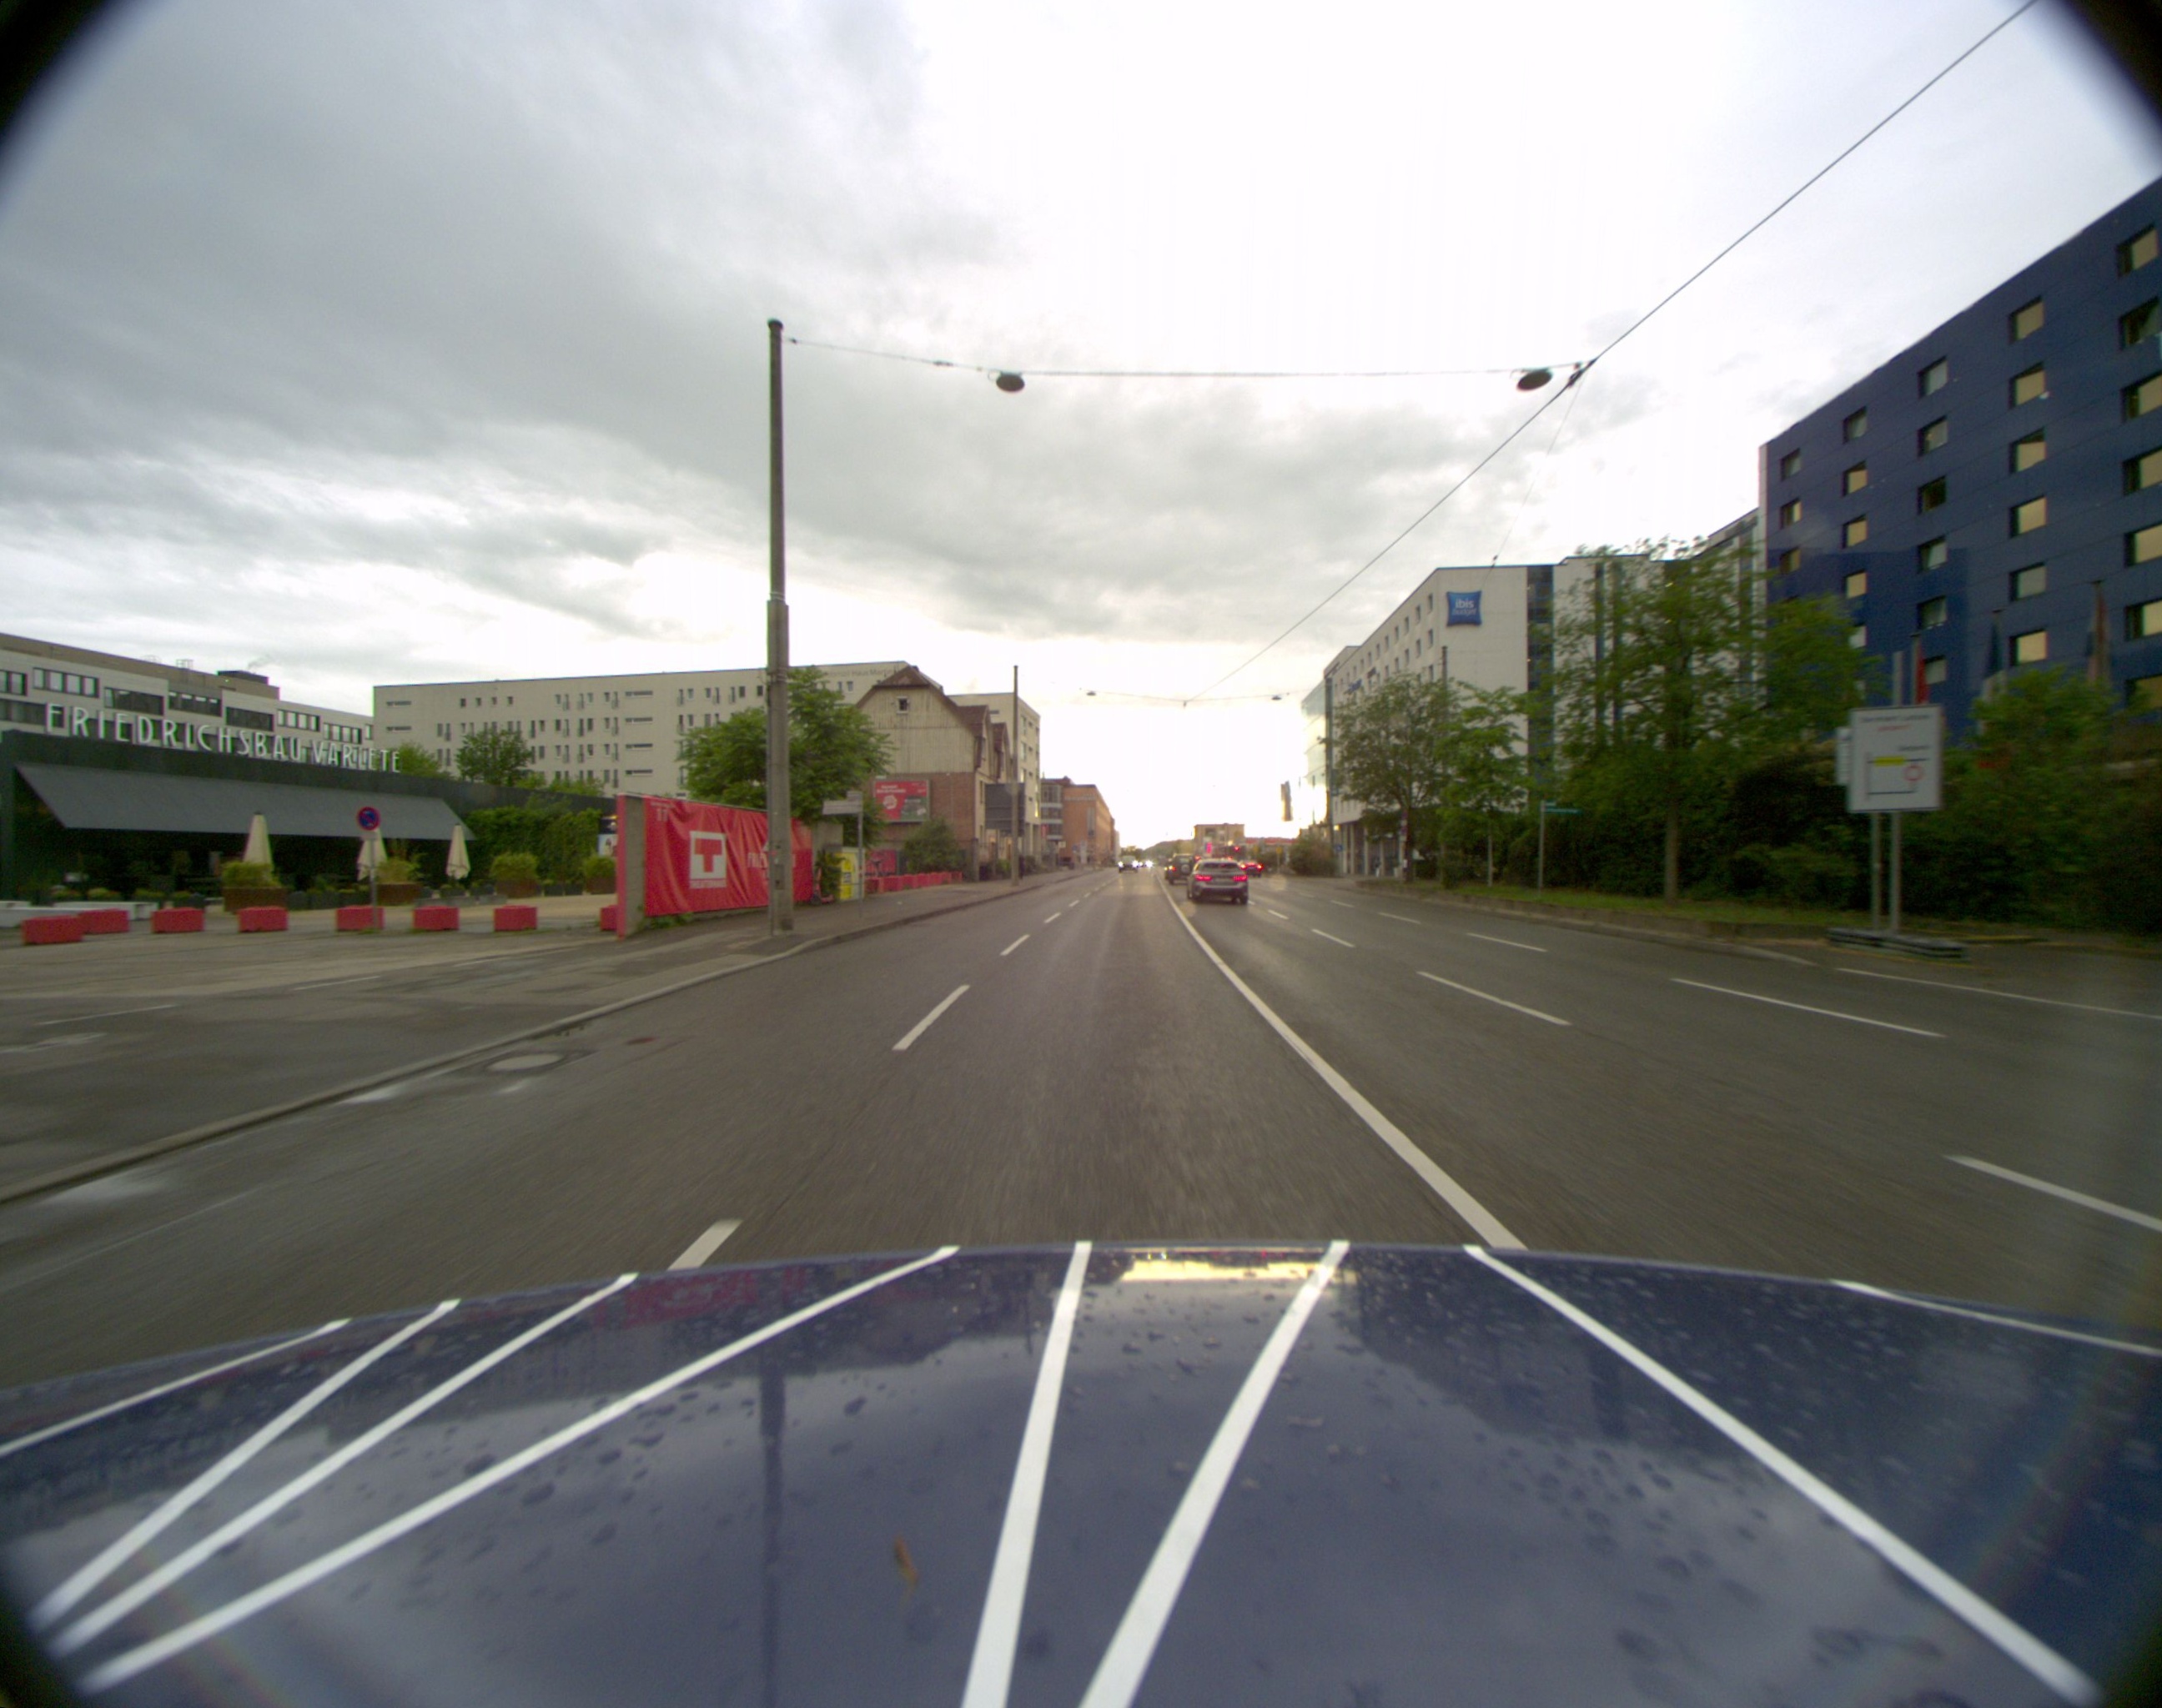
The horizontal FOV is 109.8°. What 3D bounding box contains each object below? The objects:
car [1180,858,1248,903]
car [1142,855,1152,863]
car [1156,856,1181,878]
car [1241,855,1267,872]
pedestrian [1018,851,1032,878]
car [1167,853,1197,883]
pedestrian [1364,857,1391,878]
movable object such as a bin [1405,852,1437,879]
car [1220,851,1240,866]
[{"bbox_3d":[4.452,0.851,25.983,1.716,1.357,4.000,0,1,1],"label":"car"},{"bbox_3d":[12.792,1.000,147.087,1.963,1.516,4.264,-1,0,5],"label":"car"},{"bbox_3d":[6.092,0.881,53.113,1.663,1.477,3.821,0,0,5],"label":"car"},{"bbox_3d":[14.632,0.782,64.375,1.624,1.316,4.449,1,0,6],"label":"car"},{"bbox_3d":[-3.745,0.681,50.917,0.766,1.754,0.914,-2,2,6],"label":"pedestrian"},{"bbox_3d":[5.717,0.810,43.146,1.506,1.656,3.421,0,-1,5],"label":"car"},{"bbox_3d":[24.318,1.135,62.300,1.995,1.710,1.698,-1,-1,24],"label":"pedestrian"},{"bbox_3d":[19.248,0.674,43.057,1.394,1.481,0.952,2,-2,-1],"label":"movable object such as a bin"},{"bbox_3d":[16.171,0.485,82.641,1.711,1.557,4.036,2,0,5],"label":"car"}]
